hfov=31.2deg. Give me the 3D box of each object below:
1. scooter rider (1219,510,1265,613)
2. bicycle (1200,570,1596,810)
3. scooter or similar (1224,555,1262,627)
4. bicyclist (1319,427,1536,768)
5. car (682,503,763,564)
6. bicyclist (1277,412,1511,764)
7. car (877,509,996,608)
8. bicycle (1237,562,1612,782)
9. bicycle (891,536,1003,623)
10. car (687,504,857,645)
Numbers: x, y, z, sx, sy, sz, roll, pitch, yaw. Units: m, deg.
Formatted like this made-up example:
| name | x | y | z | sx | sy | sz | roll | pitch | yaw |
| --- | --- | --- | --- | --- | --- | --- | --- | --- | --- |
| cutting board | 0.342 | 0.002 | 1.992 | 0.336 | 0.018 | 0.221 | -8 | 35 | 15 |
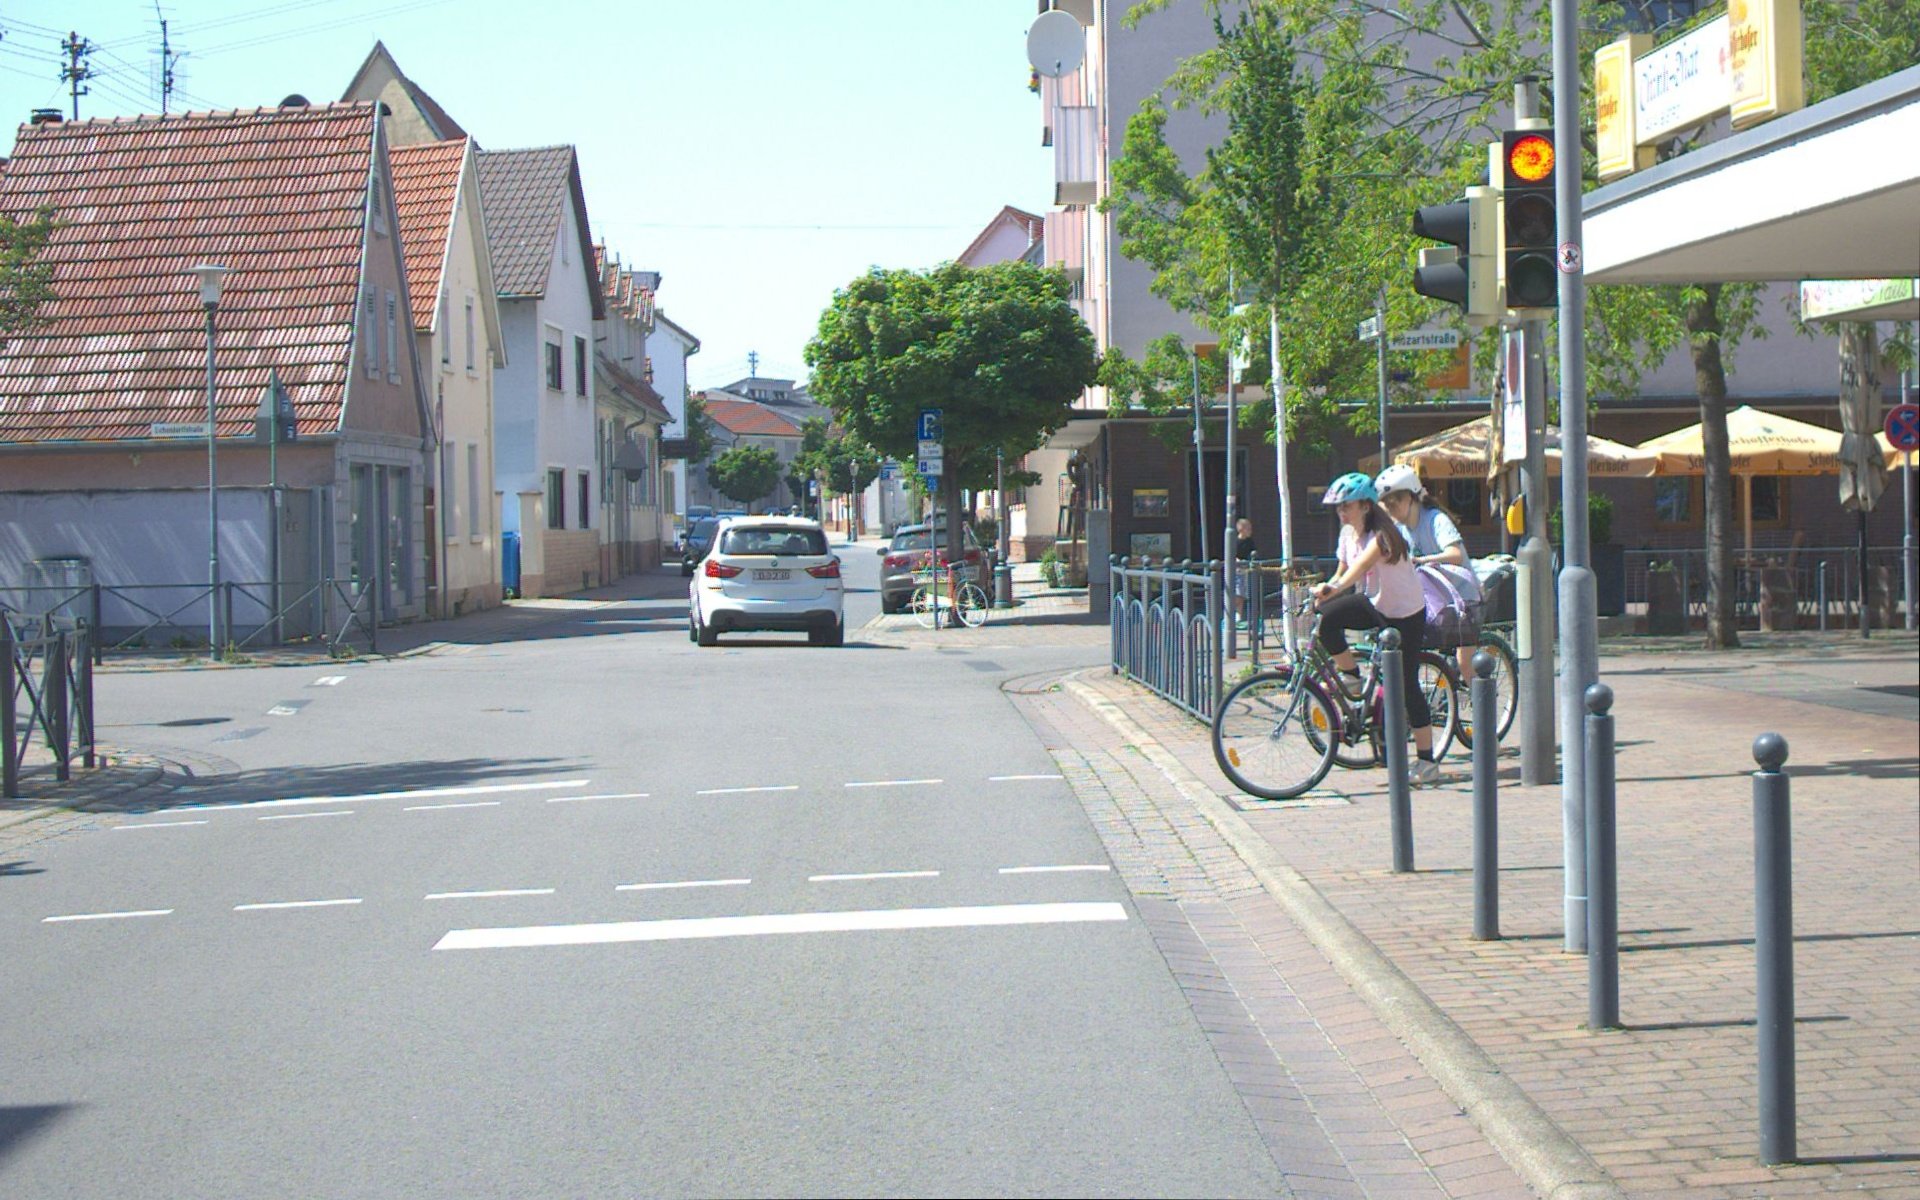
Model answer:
| name | x | y | z | sx | sy | sz | roll | pitch | yaw |
| --- | --- | --- | --- | --- | --- | --- | --- | --- | --- |
| scooter rider | 3.542 | -0.482 | 43.153 | 0.516 | 1.281 | 0.418 | -1 | 1 | 10 |
| bicycle | 2.079 | 0.397 | 16.183 | 1.890 | 0.954 | 0.676 | -5 | 3 | -38 |
| scooter or similar | 3.555 | -0.120 | 43.171 | 0.379 | 0.870 | 0.890 | -1 | 1 | 11 |
| bicyclist | 2.370 | -0.019 | 17.429 | 0.759 | 1.658 | 0.671 | -4 | 2 | -35 |
| car | -6.048 | -1.713 | 87.845 | 1.714 | 1.512 | 3.786 | -1 | 1 | 1 |
| bicyclist | 2.039 | -0.066 | 16.165 | 0.759 | 1.576 | 0.671 | -5 | 3 | -37 |
| car | -0.350 | -0.715 | 56.721 | 1.805 | 1.496 | 4.000 | -1 | 2 | 1 |
| bicycle | 2.373 | 0.344 | 17.437 | 1.890 | 0.954 | 0.676 | -4 | 2 | -35 |
| bicycle | -0.188 | -0.291 | 47.952 | 0.525 | 1.189 | 1.674 | -2 | 2 | -44 |
| car | -2.409 | -0.345 | 43.185 | 1.833 | 1.646 | 4.001 | -2 | 1 | -7 |
